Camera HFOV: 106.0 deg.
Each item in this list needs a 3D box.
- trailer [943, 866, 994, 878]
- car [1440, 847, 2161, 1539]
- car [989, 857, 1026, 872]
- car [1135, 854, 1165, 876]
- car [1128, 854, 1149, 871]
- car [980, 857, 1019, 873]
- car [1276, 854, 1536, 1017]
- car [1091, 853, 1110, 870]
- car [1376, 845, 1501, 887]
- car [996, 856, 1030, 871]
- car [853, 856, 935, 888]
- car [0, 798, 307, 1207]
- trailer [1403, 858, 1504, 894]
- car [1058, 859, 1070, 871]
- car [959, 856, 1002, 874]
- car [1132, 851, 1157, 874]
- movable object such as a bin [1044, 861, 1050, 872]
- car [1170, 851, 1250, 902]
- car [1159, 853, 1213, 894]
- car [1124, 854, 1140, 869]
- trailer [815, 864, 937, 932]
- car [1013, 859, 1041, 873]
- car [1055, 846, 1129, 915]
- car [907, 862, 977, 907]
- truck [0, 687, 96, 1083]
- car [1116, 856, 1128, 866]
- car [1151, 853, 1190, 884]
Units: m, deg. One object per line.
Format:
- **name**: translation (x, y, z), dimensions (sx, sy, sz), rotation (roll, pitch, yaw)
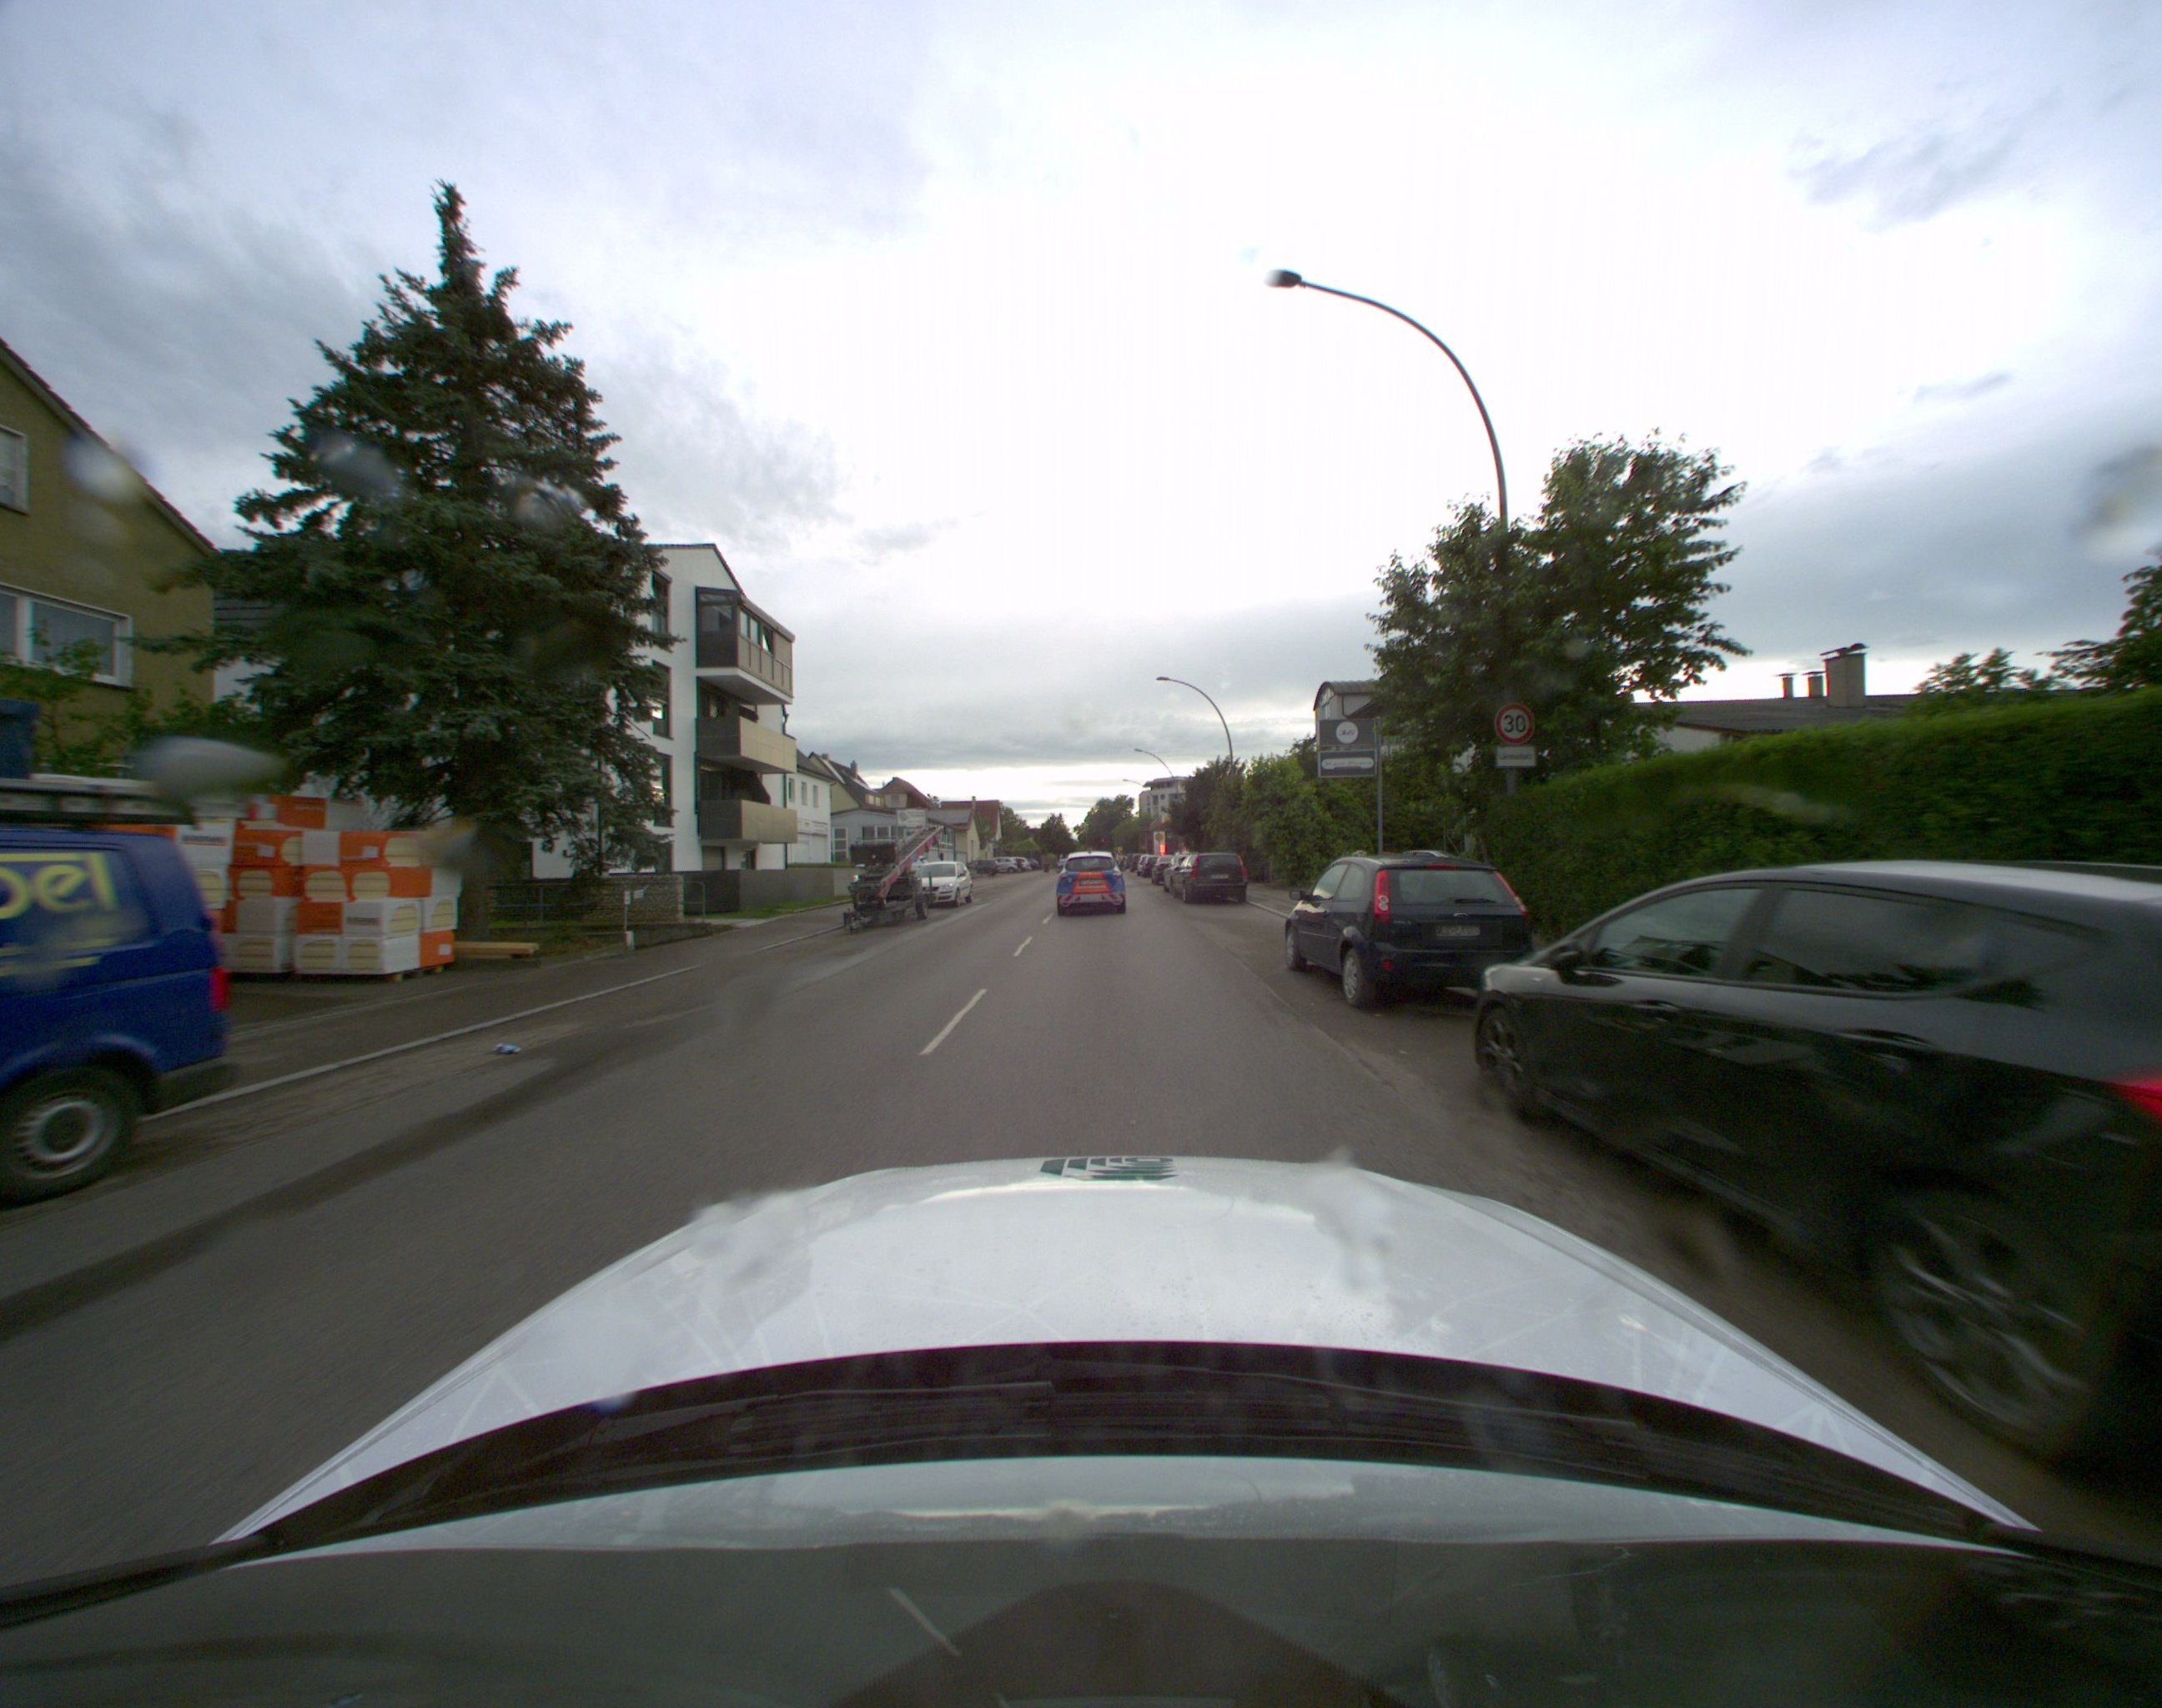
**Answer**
- **trailer**: translation (-9.414, 1.485, 68.133), dimensions (4.009, 0.995, 1.655), rotation (0, -1, 0)
- **car**: translation (3.129, 0.701, 3.381), dimensions (1.651, 1.449, 3.830), rotation (0, 0, 1)
- **car**: translation (-7.718, 1.084, 85.529), dimensions (3.750, 1.483, 1.653), rotation (0, -1, -3)
- **car**: translation (4.430, 0.691, 52.517), dimensions (1.644, 1.335, 4.002), rotation (-2, 0, 2)
- **car**: translation (5.202, 0.776, 73.686), dimensions (1.644, 1.522, 3.999), rotation (0, -1, 0)
- **car**: translation (-8.089, 1.083, 81.171), dimensions (3.750, 1.576, 1.653), rotation (0, -1, -3)
- **car**: translation (3.332, 0.719, 9.116), dimensions (1.481, 1.439, 3.808), rotation (0, 0, 1)
- **car**: translation (1.805, 0.695, 74.511), dimensions (1.644, 1.522, 3.999), rotation (0, -1, 0)
- **car**: translation (13.080, 0.441, 29.980), dimensions (1.550, 1.399, 3.907), rotation (-2, 0, -42)
- **car**: translation (-7.429, 1.064, 89.347), dimensions (3.645, 1.483, 1.478), rotation (-3, 0, -3)
- **car**: translation (-9.424, 0.883, 41.286), dimensions (3.747, 1.568, 1.655), rotation (0, -1, 0)
- **car**: translation (-6.174, 0.702, 2.698), dimensions (1.986, 1.947, 5.366), rotation (0, -1, 1)
- **trailer**: translation (11.842, 0.677, 26.161), dimensions (1.533, 1.059, 3.908), rotation (-1, -1, 2)
- **car**: translation (-2.225, 1.403, 106.329), dimensions (1.382, 1.483, 3.783), rotation (-1, 0, 0)
- **car**: translation (-8.659, 0.974, 70.593), dimensions (3.572, 1.526, 1.653), rotation (0, -1, -3)
- **car**: translation (4.468, 0.613, 57.638), dimensions (1.476, 1.555, 3.861), rotation (0, -1, 0)
- **movable object such as a bin**: translation (-3.793, 1.388, 91.384), dimensions (0.577, 1.204, 0.319), rotation (-1, 0, 1)
- **car**: translation (3.876, 0.646, 25.183), dimensions (1.706, 1.438, 4.525), rotation (0, -1, -1)
- **car**: translation (3.865, 0.674, 30.460), dimensions (1.534, 1.429, 3.750), rotation (0, 0, 0)
- **car**: translation (5.934, 0.875, 95.456), dimensions (1.644, 1.671, 3.999), rotation (0, -1, 0)
- **trailer**: translation (-4.921, 0.998, 20.338), dimensions (1.712, 1.260, 5.244), rotation (0, 2, 0)
- **car**: translation (-6.422, 1.423, 97.417), dimensions (3.273, 1.448, 1.478), rotation (-3, 0, -3)
- **car**: translation (0.295, 0.655, 21.366), dimensions (1.725, 1.631, 3.495), rotation (-1, -1, 1)
- **car**: translation (-4.645, 0.979, 27.704), dimensions (1.551, 1.433, 4.002), rotation (0, -1, 2)
- **truck**: translation (-11.356, 0.248, 5.756), dimensions (5.888, 3.073, 2.451), rotation (0, -1, 2)
- **car**: translation (6.345, 1.068, 127.400), dimensions (1.644, 1.483, 3.999), rotation (0, -1, 0)
- **car**: translation (4.232, 0.676, 38.863), dimensions (1.599, 1.374, 4.089), rotation (0, -1, 2)
